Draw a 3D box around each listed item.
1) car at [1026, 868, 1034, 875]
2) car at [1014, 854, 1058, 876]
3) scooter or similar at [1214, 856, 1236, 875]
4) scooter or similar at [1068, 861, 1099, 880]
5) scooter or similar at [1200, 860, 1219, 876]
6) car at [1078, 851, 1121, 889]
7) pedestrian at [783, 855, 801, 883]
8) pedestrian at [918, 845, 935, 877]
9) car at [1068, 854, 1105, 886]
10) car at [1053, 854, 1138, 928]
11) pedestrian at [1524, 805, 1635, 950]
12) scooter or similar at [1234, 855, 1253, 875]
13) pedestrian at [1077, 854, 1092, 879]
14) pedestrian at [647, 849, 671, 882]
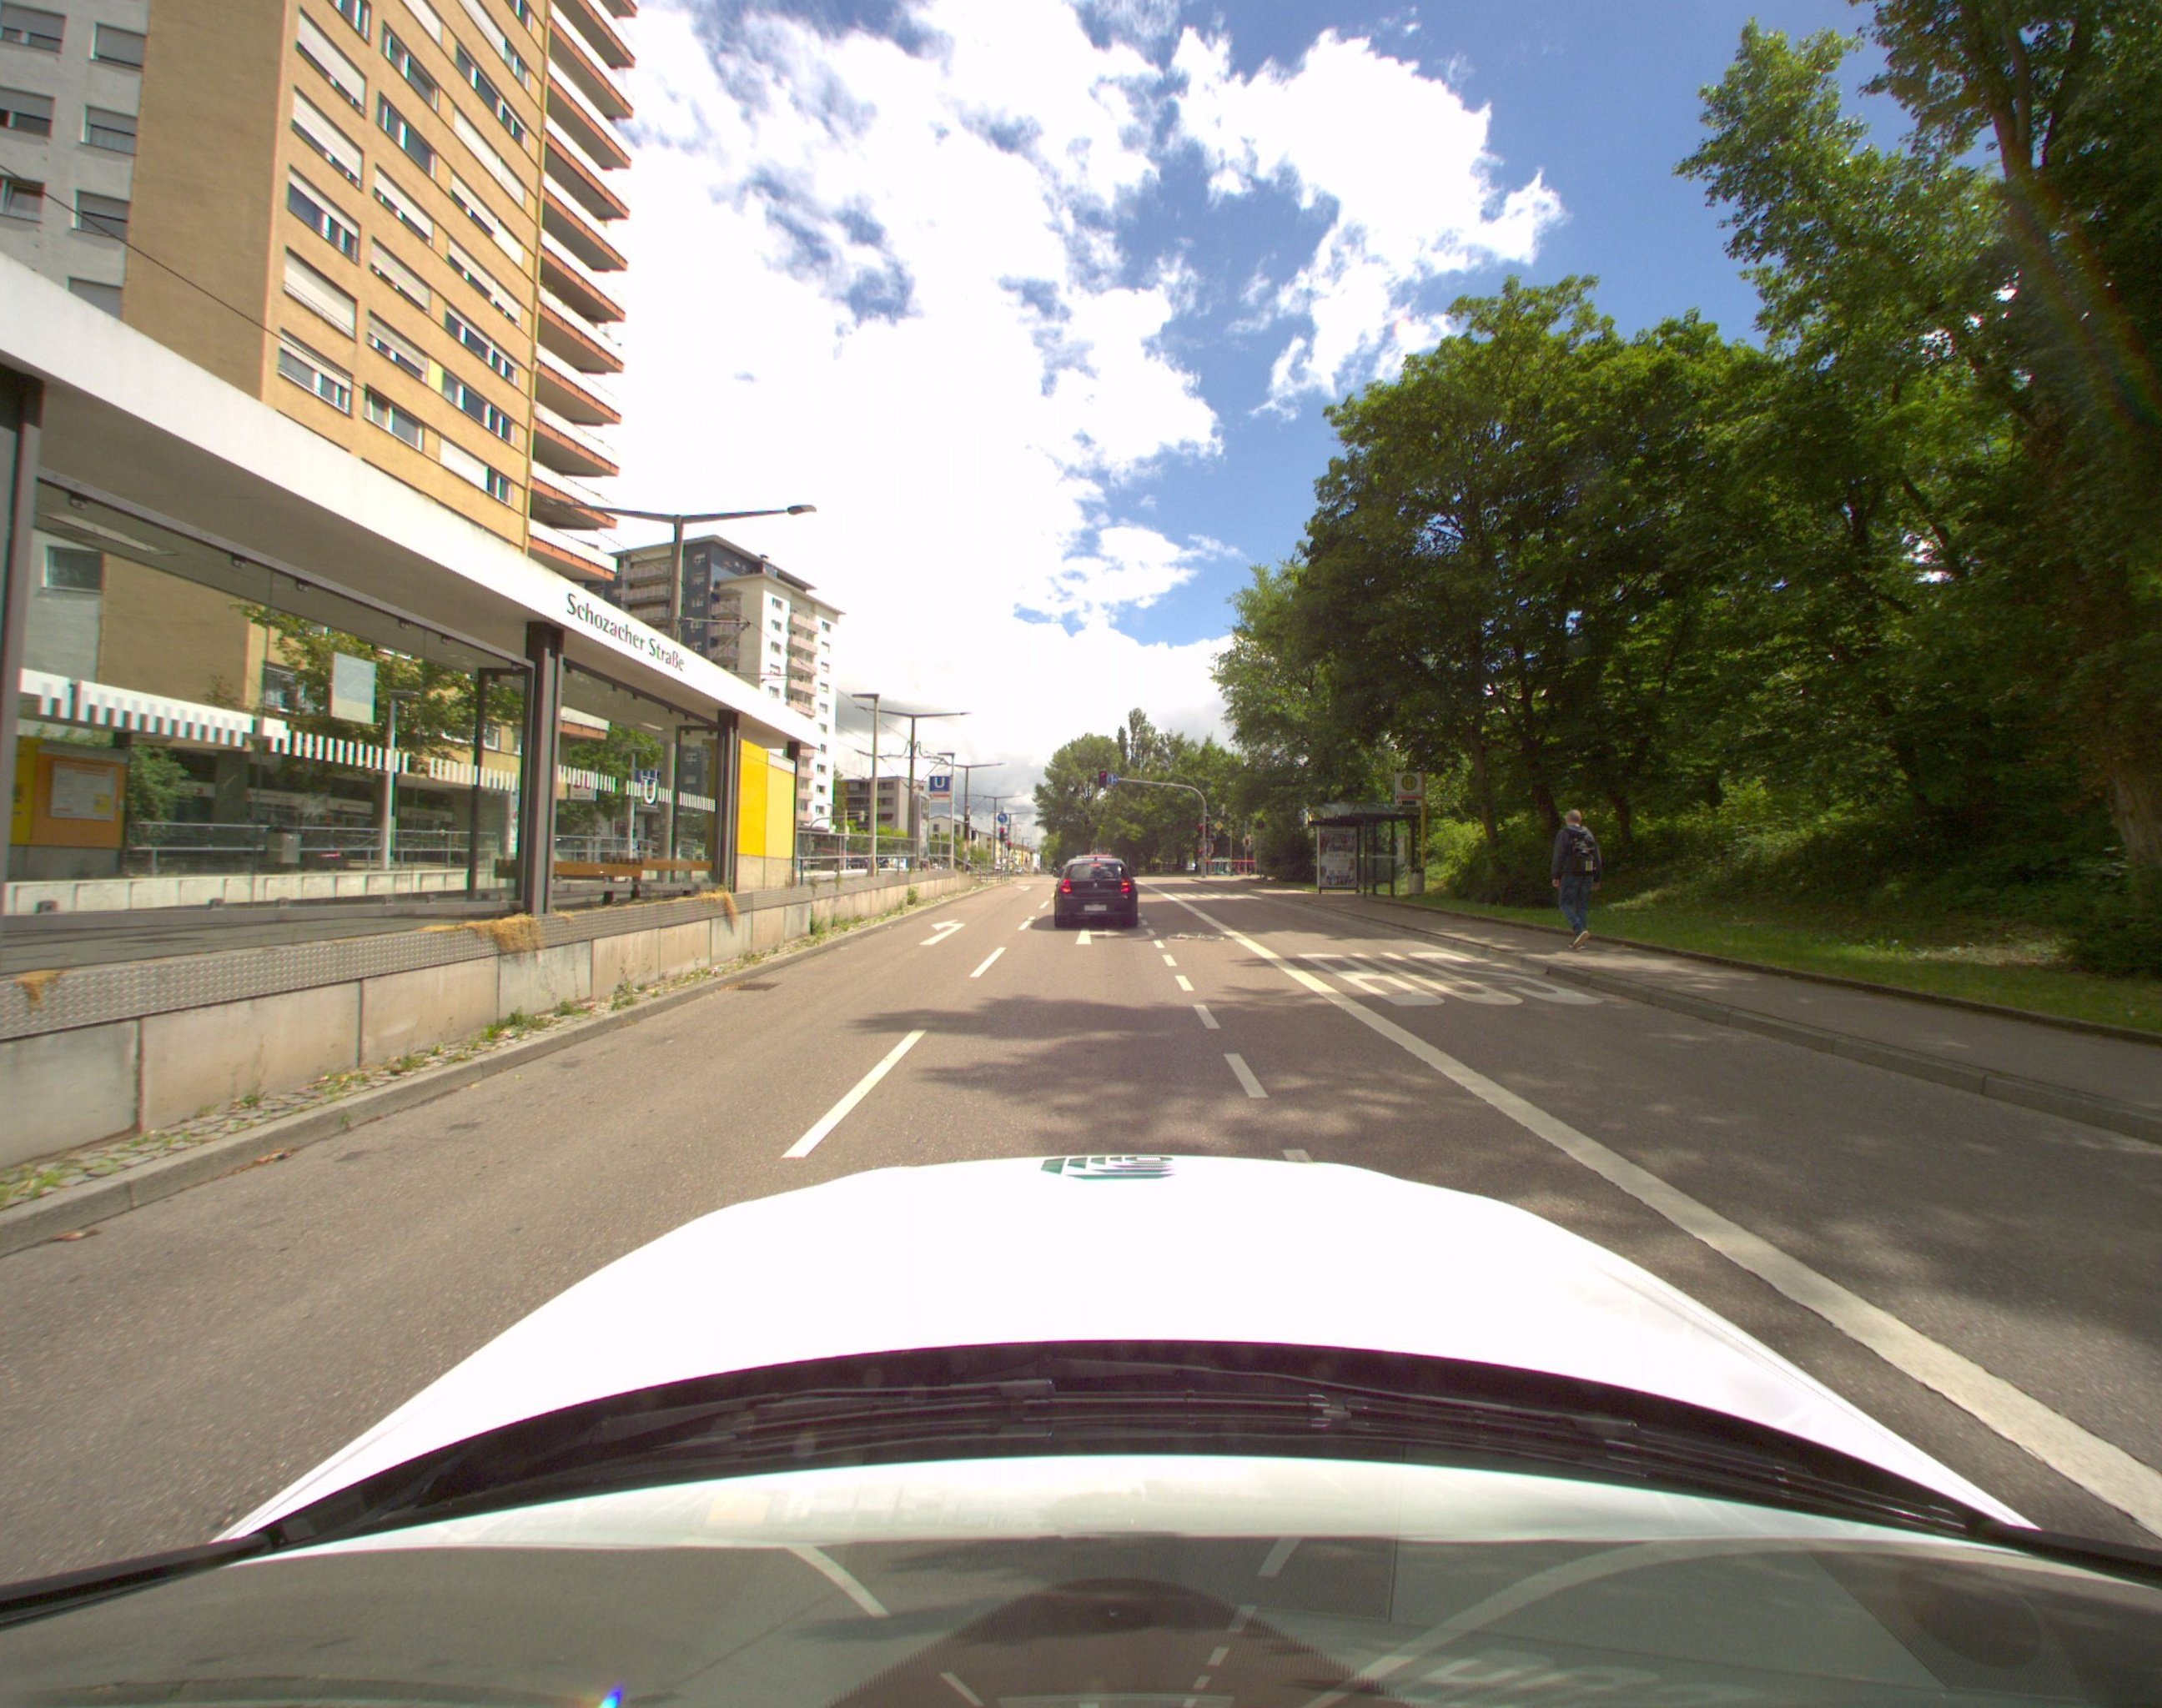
[{"bbox_3d":[-13.109,4.531,208.660,1.961,1.596,3.998,0,0,-1],"label":"car"},{"bbox_3d":[-4.148,1.017,75.252,3.726,2.014,1.799,0,-1,-23],"label":"car"},{"bbox_3d":[9.011,0.713,51.018,1.290,1.189,0.383,-1,0,-15],"label":"scooter or similar"},{"bbox_3d":[0.147,0.951,47.067,1.782,1.050,0.409,-1,0,-13],"label":"scooter or similar"},{"bbox_3d":[7.865,0.854,49.912,1.122,0.957,0.299,-1,0,-15],"label":"scooter or similar"},{"bbox_3d":[0.752,0.593,31.879,1.588,1.419,3.518,0,0,2],"label":"car"},{"bbox_3d":[-14.270,0.733,40.161,0.691,1.342,0.852,0,0,-29],"label":"pedestrian"},{"bbox_3d":[-7.922,0.374,41.906,0.698,1.632,0.638,-1,0,2],"label":"pedestrian"},{"bbox_3d":[0.254,0.737,38.499,1.649,1.419,3.516,0,0,0],"label":"car"},{"bbox_3d":[0.376,0.725,17.643,1.648,1.419,3.519,0,0,3],"label":"car"},{"bbox_3d":[6.866,0.309,11.289,0.798,1.895,1.271,0,0,2],"label":"pedestrian"},{"bbox_3d":[10.368,0.680,51.886,1.107,1.258,0.330,-1,0,-11],"label":"scooter or similar"},{"bbox_3d":[0.216,0.736,47.631,0.861,1.442,0.799,-1,0,2],"label":"pedestrian"},{"bbox_3d":[-21.911,0.603,42.275,0.850,1.696,0.692,0,0,19],"label":"pedestrian"}]
